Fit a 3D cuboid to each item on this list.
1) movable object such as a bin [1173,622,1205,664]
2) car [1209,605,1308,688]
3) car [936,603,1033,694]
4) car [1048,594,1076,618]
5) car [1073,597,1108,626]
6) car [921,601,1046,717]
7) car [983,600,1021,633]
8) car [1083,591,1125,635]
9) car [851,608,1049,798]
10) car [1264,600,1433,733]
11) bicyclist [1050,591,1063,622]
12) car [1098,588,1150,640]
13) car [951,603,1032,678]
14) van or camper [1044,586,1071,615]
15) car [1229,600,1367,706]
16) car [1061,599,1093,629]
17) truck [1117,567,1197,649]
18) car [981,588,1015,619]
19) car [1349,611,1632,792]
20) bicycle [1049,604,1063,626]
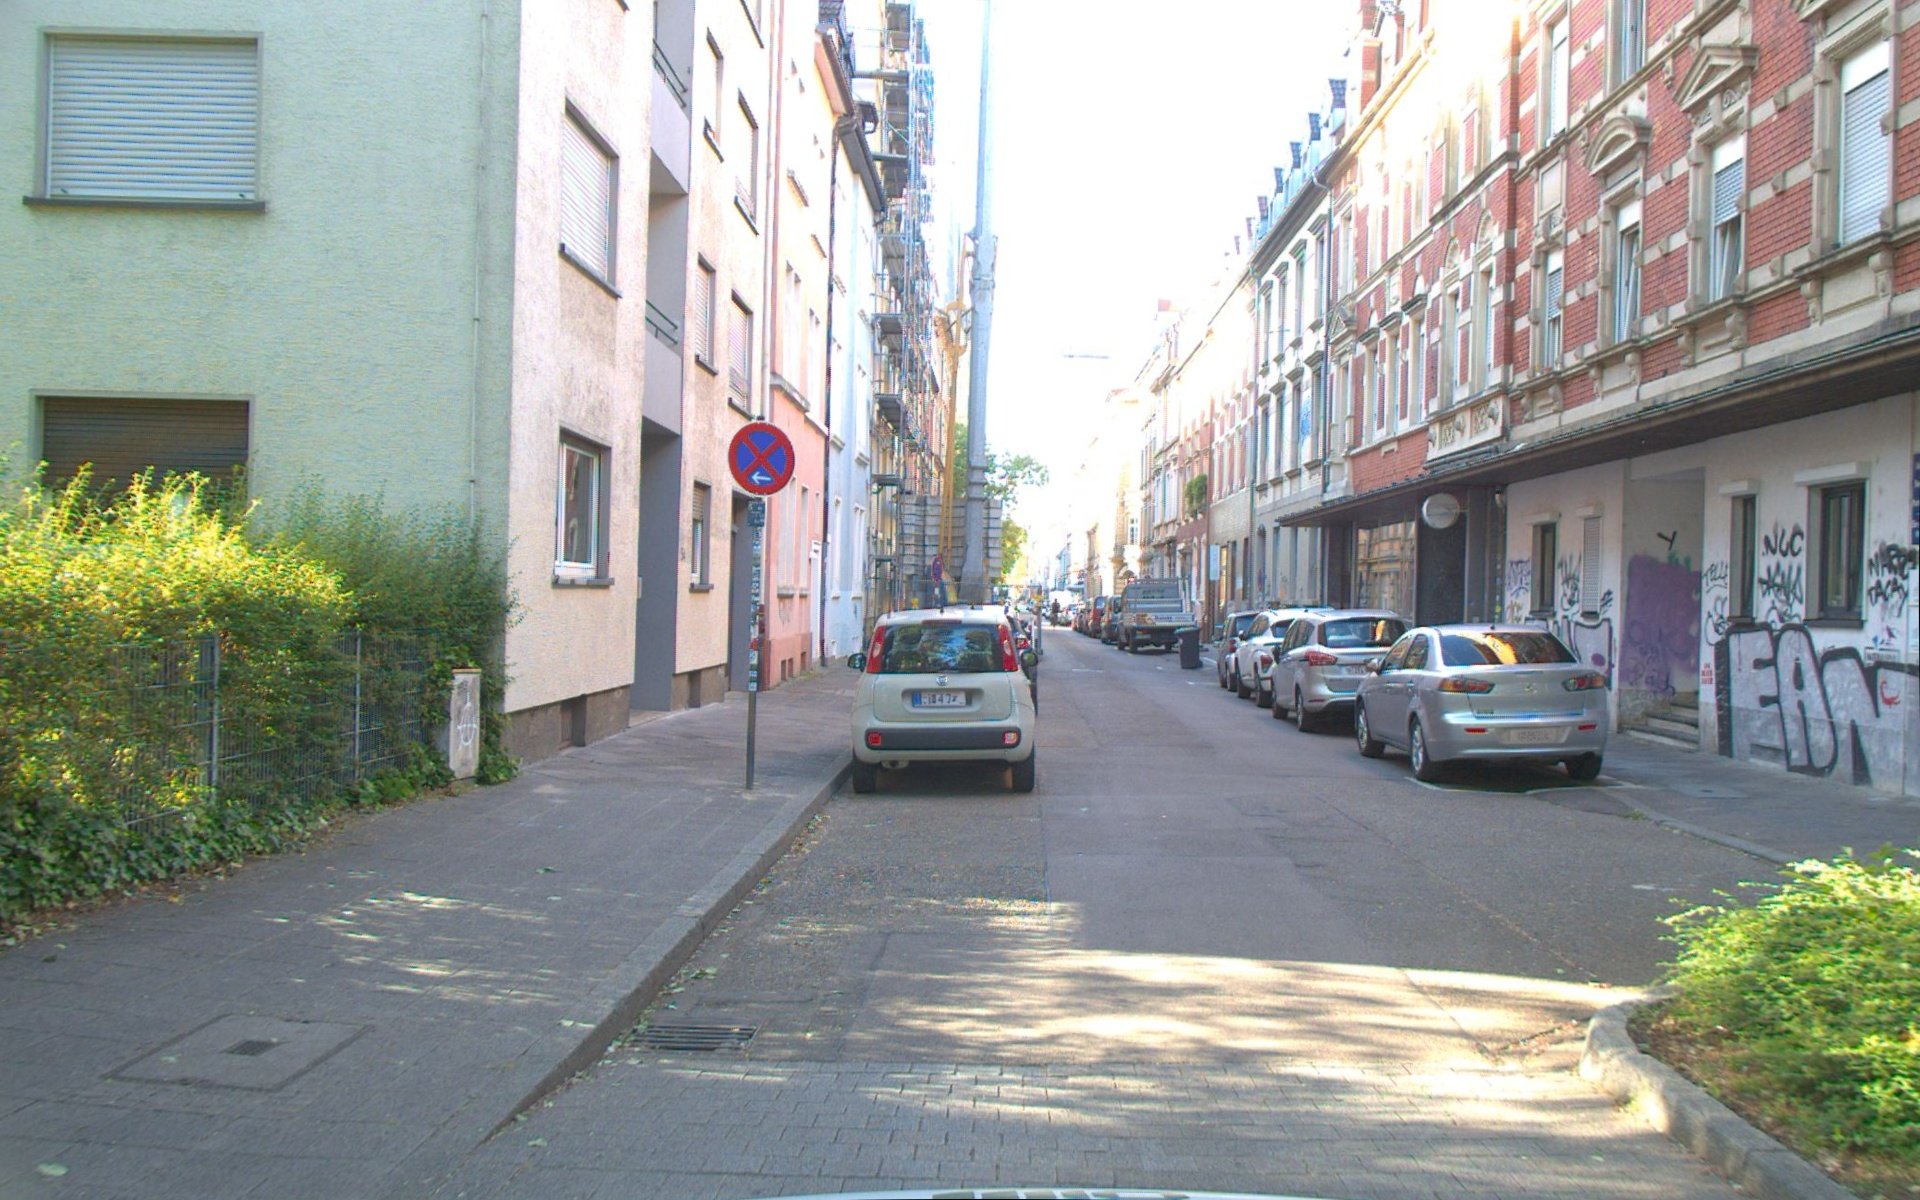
[{"bbox_3d":[6.088,1.147,44.007,0.778,1.074,0.660,1,0,1],"label":"movable object such as a bin"},{"bbox_3d":[6.124,0.909,34.236,1.563,1.587,3.815,0,0,3],"label":"car"},{"bbox_3d":[0.470,0.833,30.333,1.640,1.538,4.415,1,0,1],"label":"car"},{"bbox_3d":[8.061,0.465,131.144,1.952,1.881,4.000,0,0,0],"label":"car"},{"bbox_3d":[7.287,0.642,92.748,1.641,1.598,3.868,1,0,-1],"label":"car"},{"bbox_3d":[0.303,0.814,24.720,1.694,1.566,4.377,0,0,-1],"label":"car"},{"bbox_3d":[1.954,0.750,77.363,1.641,1.470,3.868,1,0,-1],"label":"car"},{"bbox_3d":[6.876,0.603,79.262,1.641,2.066,3.868,1,0,-1],"label":"car"},{"bbox_3d":[-0.099,0.860,15.635,1.641,1.567,3.868,0,0,-1],"label":"car"},{"bbox_3d":[5.405,0.868,23.422,1.606,1.685,3.870,1,0,2],"label":"car"},{"bbox_3d":[5.678,0.363,97.494,0.715,1.792,0.835,2,1,2],"label":"bicyclist"},{"bbox_3d":[6.576,0.562,66.771,1.641,1.997,4.108,1,0,-1],"label":"car"},{"bbox_3d":[0.694,0.831,36.060,1.640,1.503,4.608,1,0,1],"label":"car"},{"bbox_3d":[8.593,0.057,145.791,1.953,2.552,4.200,0,0,-3],"label":"van or camper"},{"bbox_3d":[5.839,0.872,29.025,1.710,1.705,4.342,1,0,3],"label":"car"},{"bbox_3d":[8.258,0.985,117.172,1.952,2.049,4.000,1,0,0],"label":"car"},{"bbox_3d":[6.629,0.244,56.263,2.145,2.652,5.234,0,0,0],"label":"truck"},{"bbox_3d":[1.985,0.194,87.544,1.641,1.598,3.868,1,0,-1],"label":"car"},{"bbox_3d":[5.321,0.936,17.184,1.685,1.589,4.400,1,0,2],"label":"car"},{"bbox_3d":[5.654,0.878,97.601,0.709,1.207,2.043,2,1,2],"label":"bicycle"}]
